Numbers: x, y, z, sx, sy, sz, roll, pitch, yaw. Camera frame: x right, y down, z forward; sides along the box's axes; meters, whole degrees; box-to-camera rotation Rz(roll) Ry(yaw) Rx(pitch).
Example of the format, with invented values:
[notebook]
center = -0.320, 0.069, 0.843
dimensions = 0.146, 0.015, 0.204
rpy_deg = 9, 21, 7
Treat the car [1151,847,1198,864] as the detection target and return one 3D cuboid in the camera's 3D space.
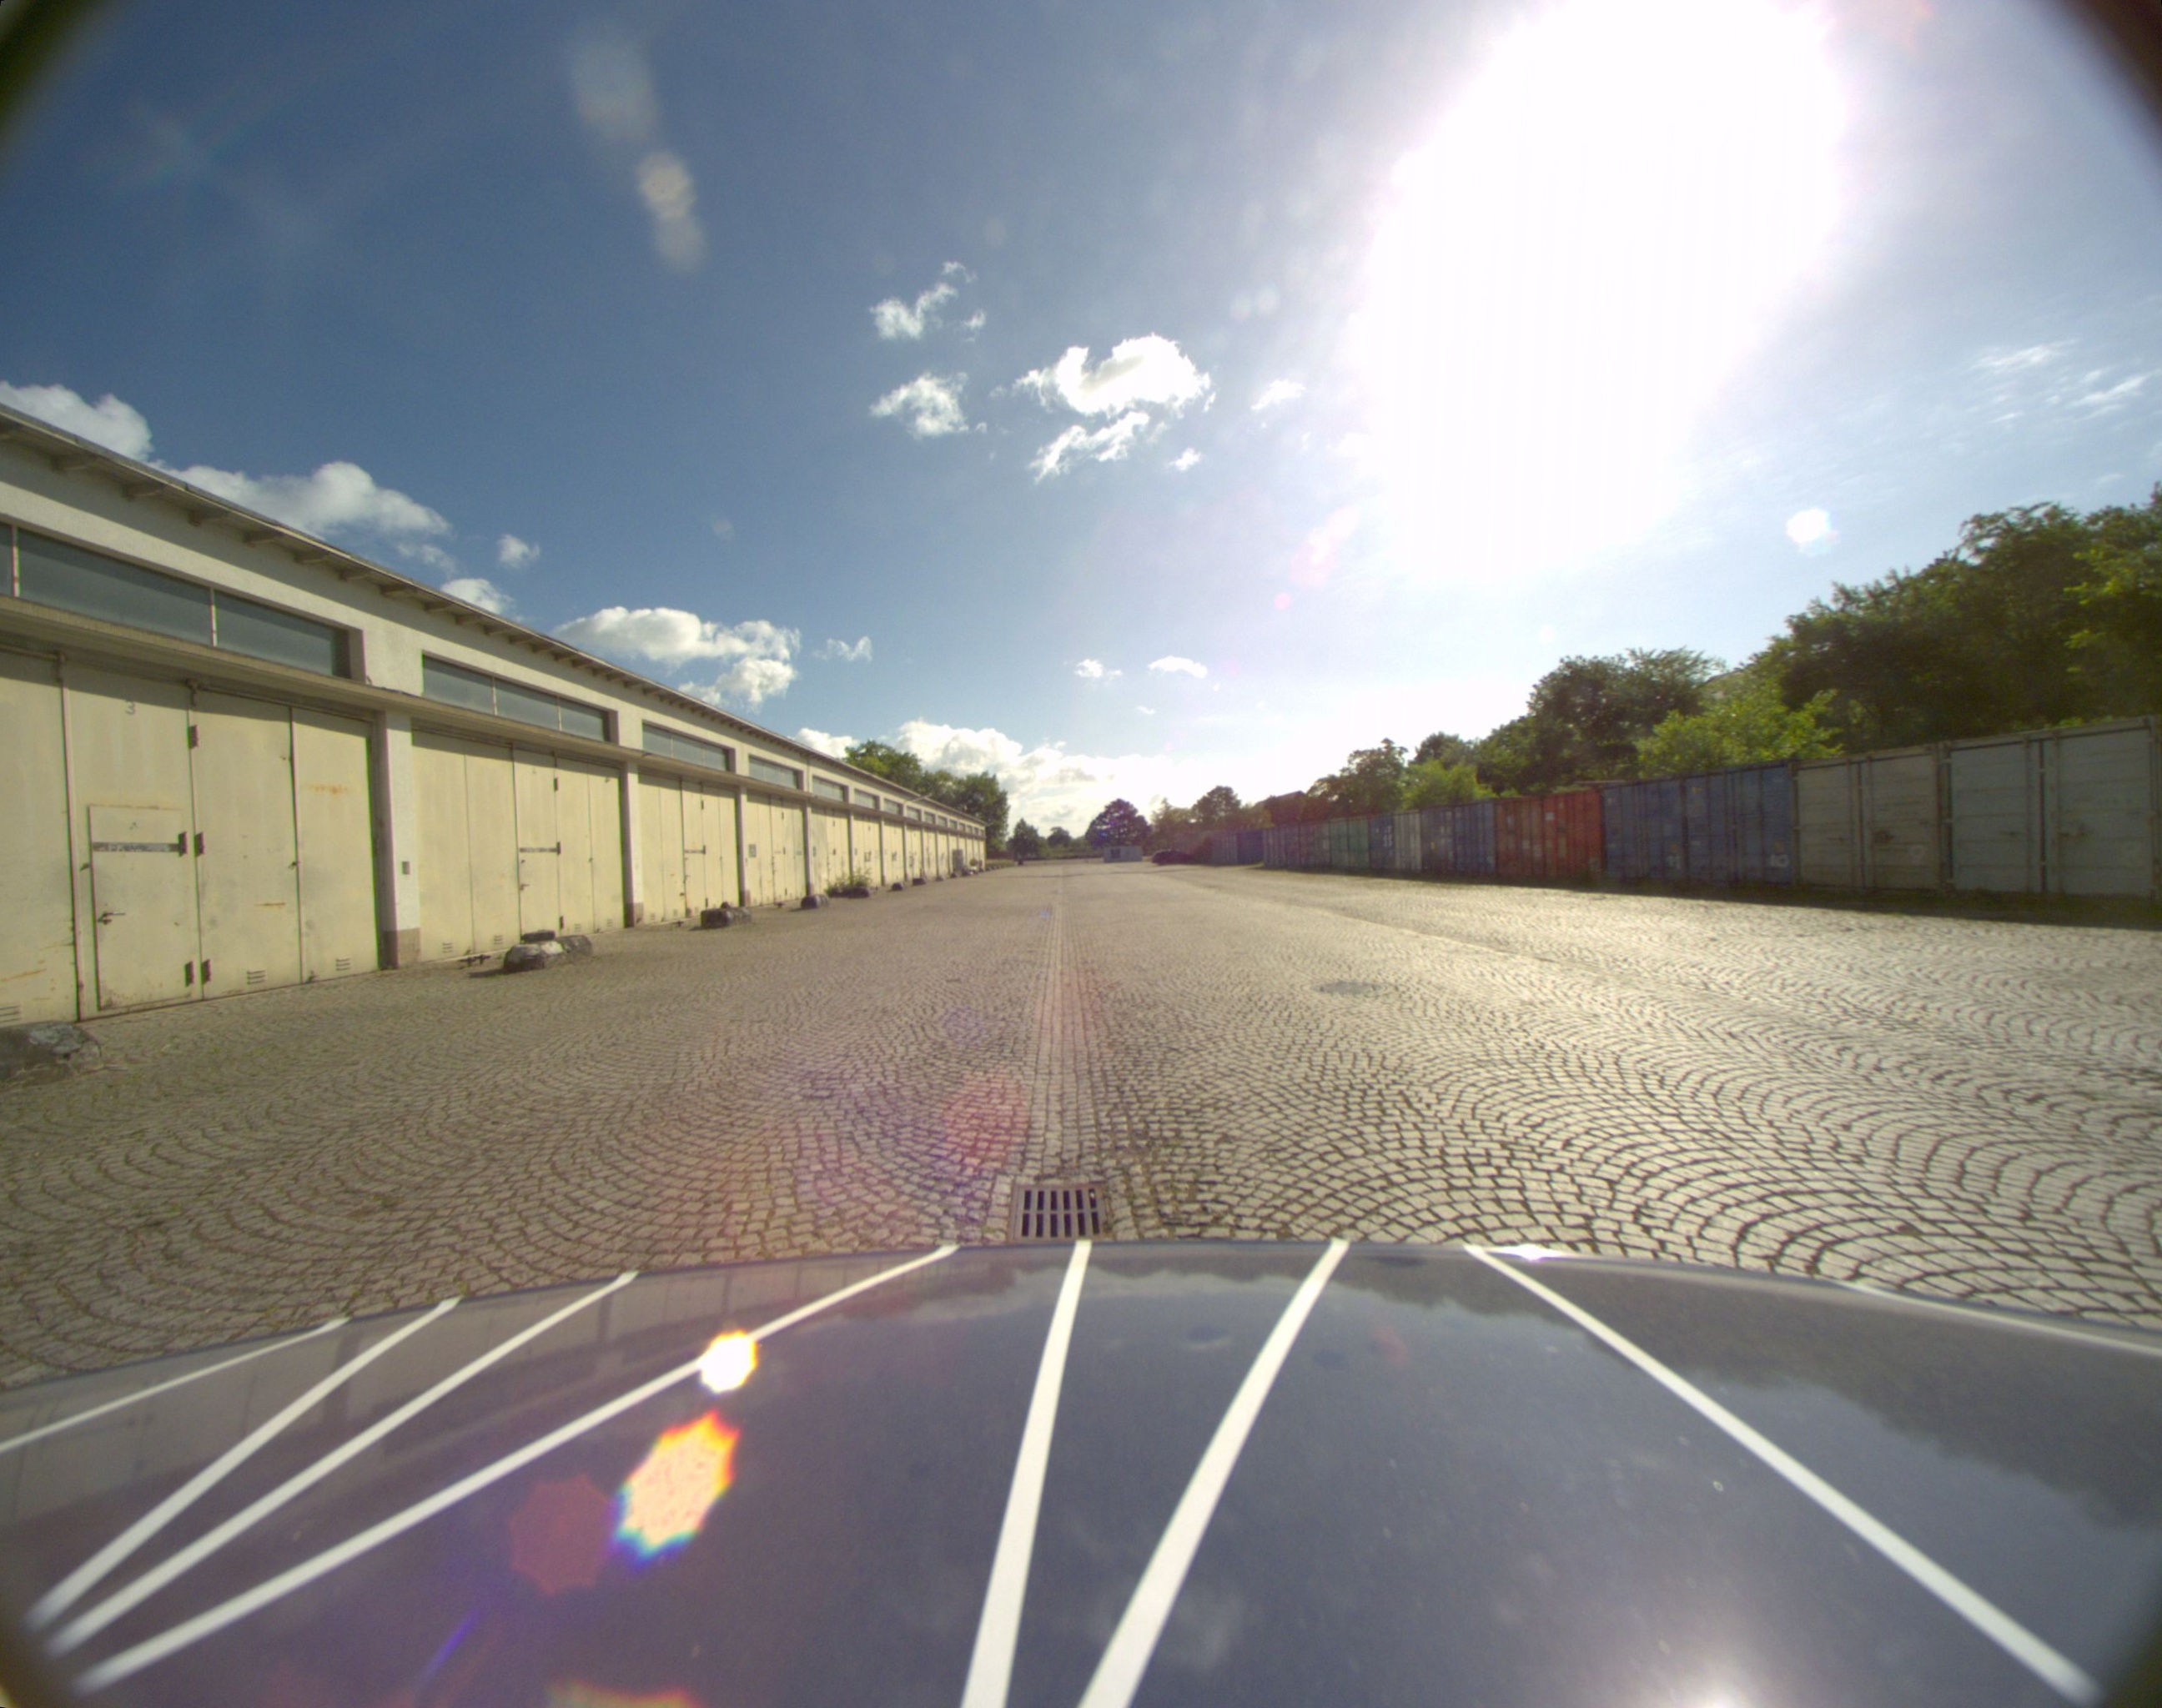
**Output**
[car]
center = 8.982, 0.151, 73.483
dimensions = 4.113, 1.289, 1.999
rpy_deg = -5, 1, -3
